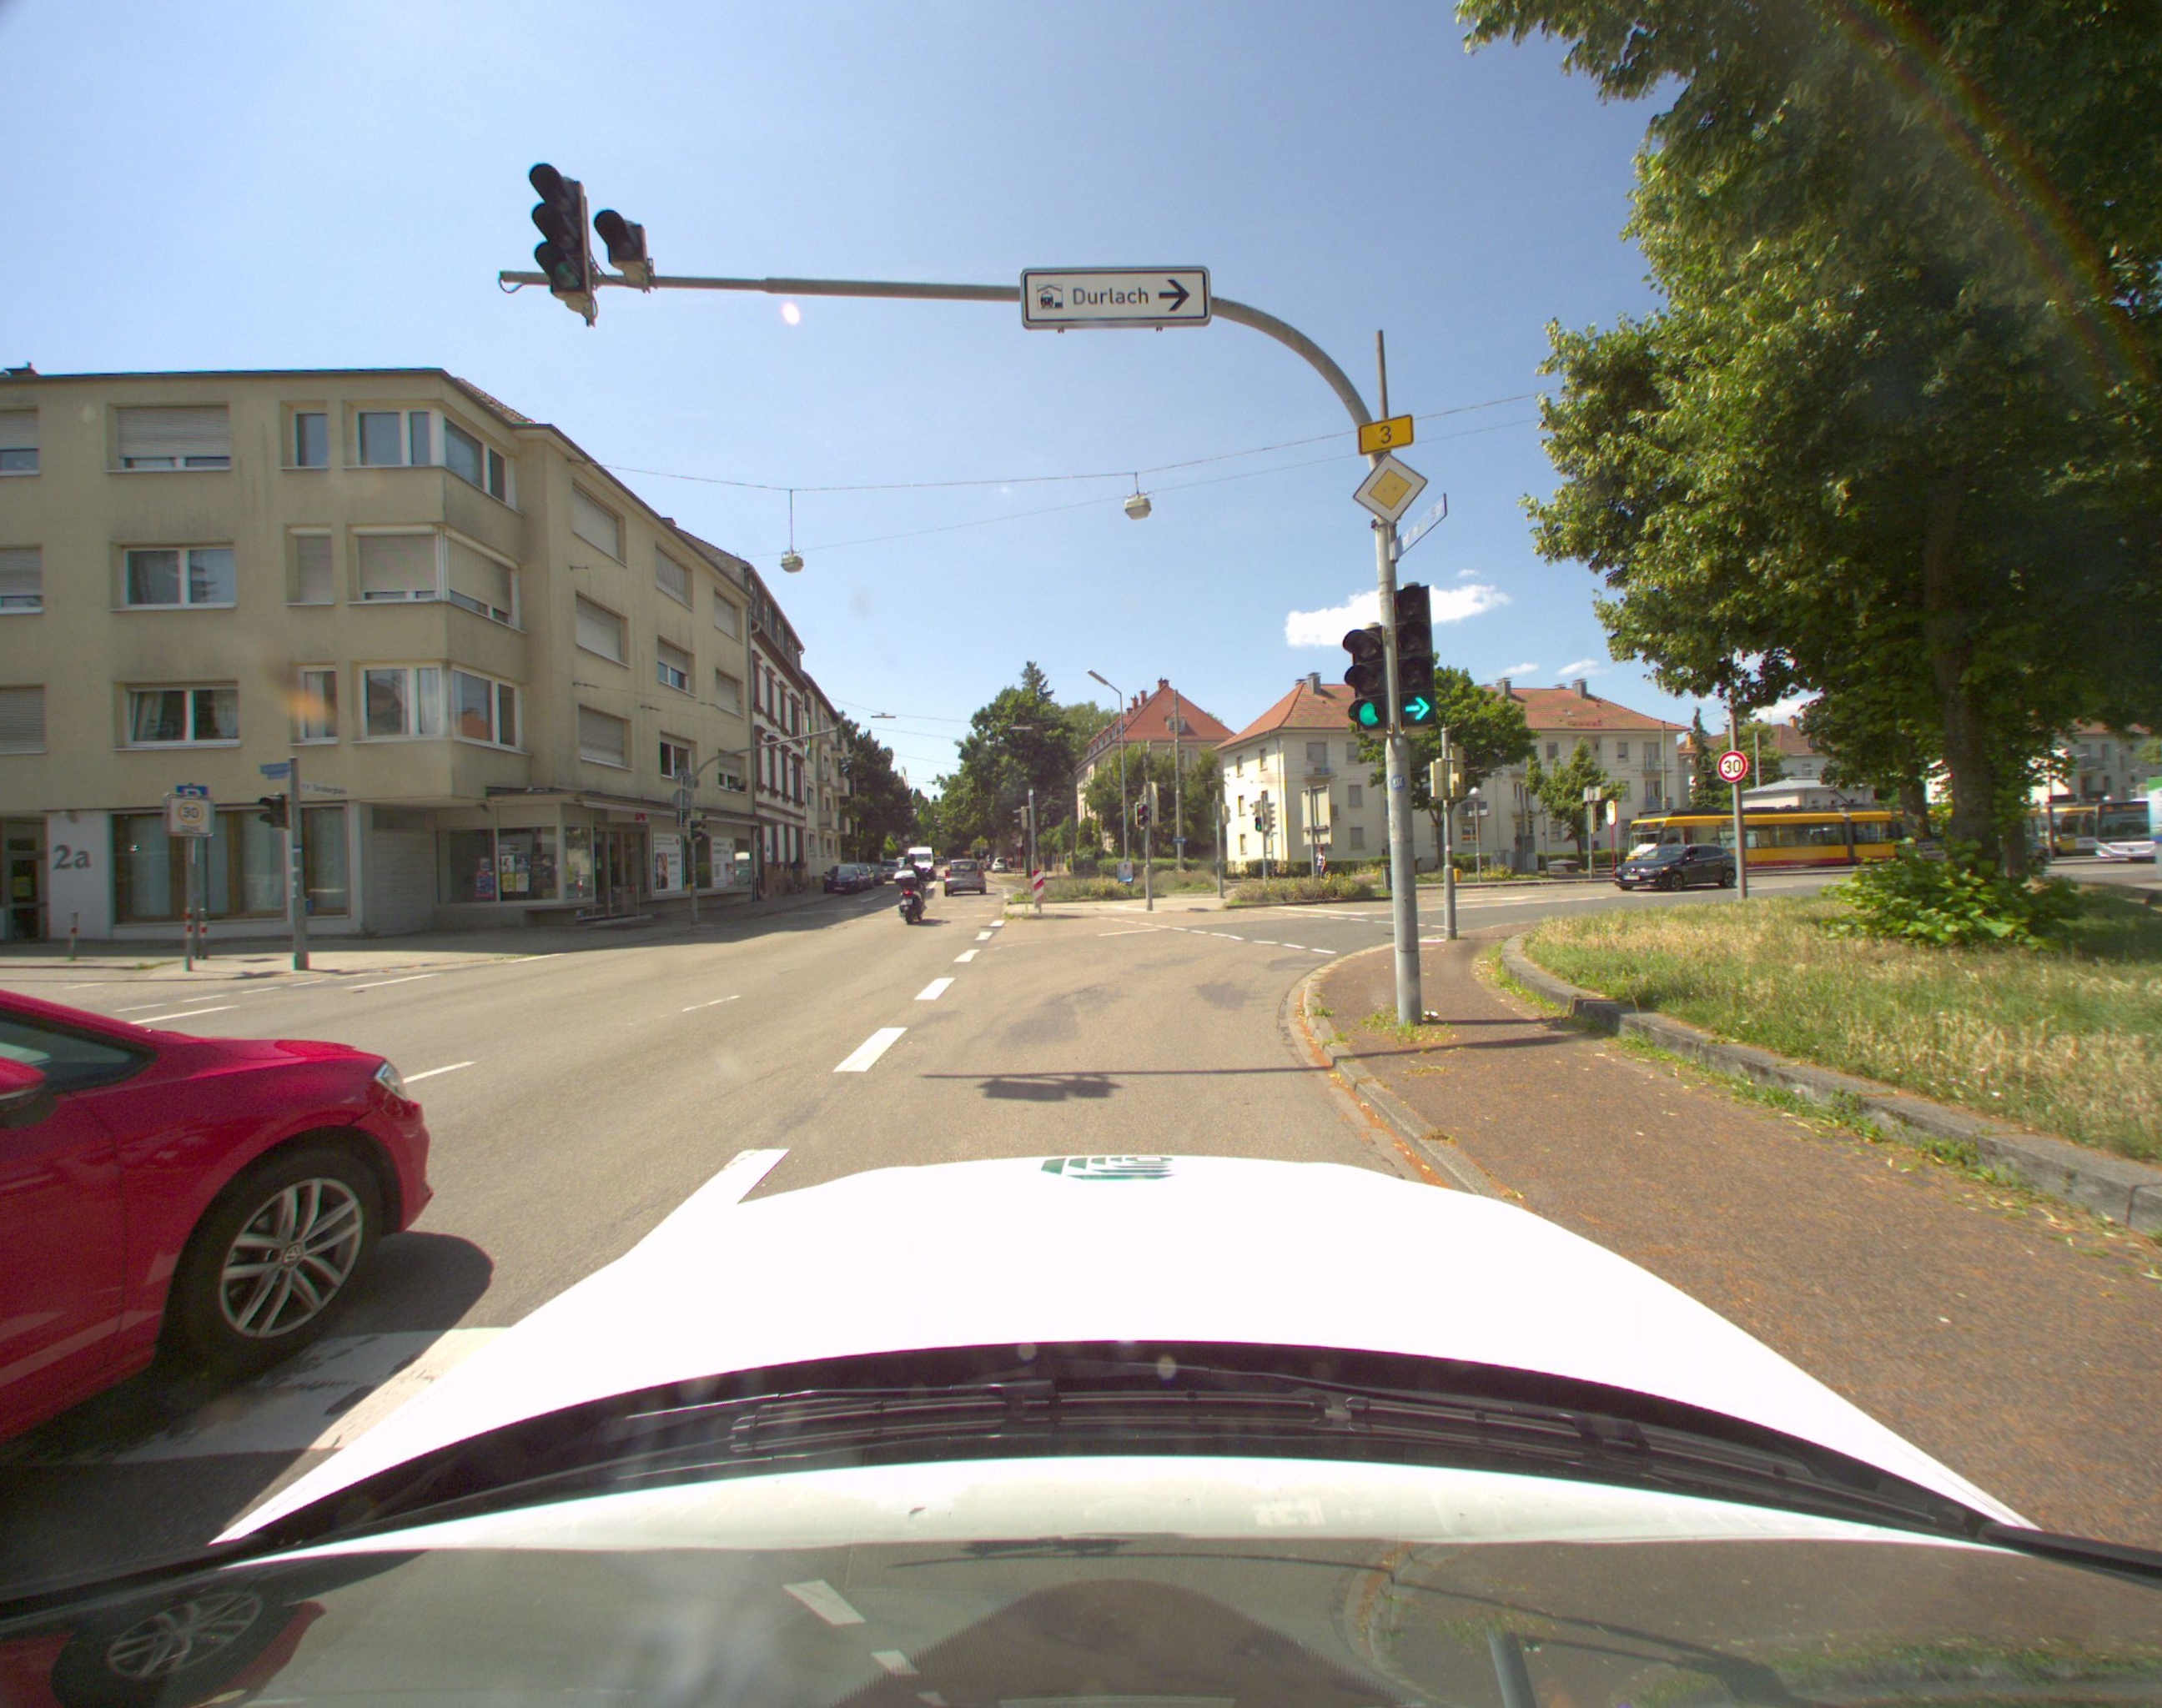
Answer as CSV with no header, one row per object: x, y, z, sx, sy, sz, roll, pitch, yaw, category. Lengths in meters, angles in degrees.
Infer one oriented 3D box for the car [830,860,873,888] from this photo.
-13.119,1.160,46.770,1.994,1.519,3.984,-1,-1,-11,car

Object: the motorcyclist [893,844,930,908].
-3.972,0.500,19.151,0.710,1.445,1.017,-1,0,-6,motorcyclist

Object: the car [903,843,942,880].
-12.033,0.580,62.294,2.215,2.501,7.534,-5,0,-8,car

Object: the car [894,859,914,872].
-21.490,1.409,98.903,1.796,1.558,4.030,1,-1,-5,car

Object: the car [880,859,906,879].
-16.512,1.303,71.688,1.797,1.718,4.027,1,-1,-7,car

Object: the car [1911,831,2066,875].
34.765,-0.049,31.228,4.500,1.519,1.992,-1,0,-12,car

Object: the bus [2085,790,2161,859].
54.697,-1.496,39.477,11.984,3.129,2.726,-2,-1,-14,bus

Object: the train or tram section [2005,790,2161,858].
64.958,-1.904,50.742,15.519,3.895,2.781,-2,-1,-14,train or tram section

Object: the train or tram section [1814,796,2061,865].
49.419,-1.382,46.918,14.674,3.568,2.781,-2,-1,-14,train or tram section

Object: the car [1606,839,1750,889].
19.744,0.308,26.915,4.434,1.500,1.983,-1,0,-26,car

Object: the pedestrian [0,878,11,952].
-21.988,1.237,16.147,0.683,1.475,0.649,-2,0,2,pedestrian

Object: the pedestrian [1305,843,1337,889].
9.028,0.456,30.670,0.839,1.705,0.756,-1,-1,-26,pedestrian

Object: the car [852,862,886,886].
-14.382,1.317,55.426,1.994,1.510,3.984,-2,-1,-11,car

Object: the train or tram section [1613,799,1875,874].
35.440,-0.985,43.506,14.151,3.568,2.806,-2,-1,-14,train or tram section

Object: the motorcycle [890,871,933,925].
-3.960,1.008,19.169,0.710,1.134,2.193,-1,0,-5,motorcycle

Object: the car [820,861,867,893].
-12.253,1.173,42.192,1.995,1.519,3.983,-1,-1,-12,car

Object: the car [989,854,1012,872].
-8.198,0.904,82.438,1.994,1.807,3.985,-1,0,-11,car

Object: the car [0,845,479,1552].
-3.313,0.768,1.154,1.792,1.558,4.039,-1,0,2,car

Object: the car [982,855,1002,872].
-10.509,1.050,95.671,1.994,1.906,3.985,-1,0,-11,car

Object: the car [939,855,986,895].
-4.995,0.845,34.281,1.798,1.558,4.025,-1,0,-8,car

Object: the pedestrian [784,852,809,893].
-13.688,0.887,39.165,0.935,1.931,0.973,-2,-1,-11,pedestrian

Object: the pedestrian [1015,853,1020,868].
-7.086,0.708,90.377,0.508,1.656,0.465,-1,0,-6,pedestrian
